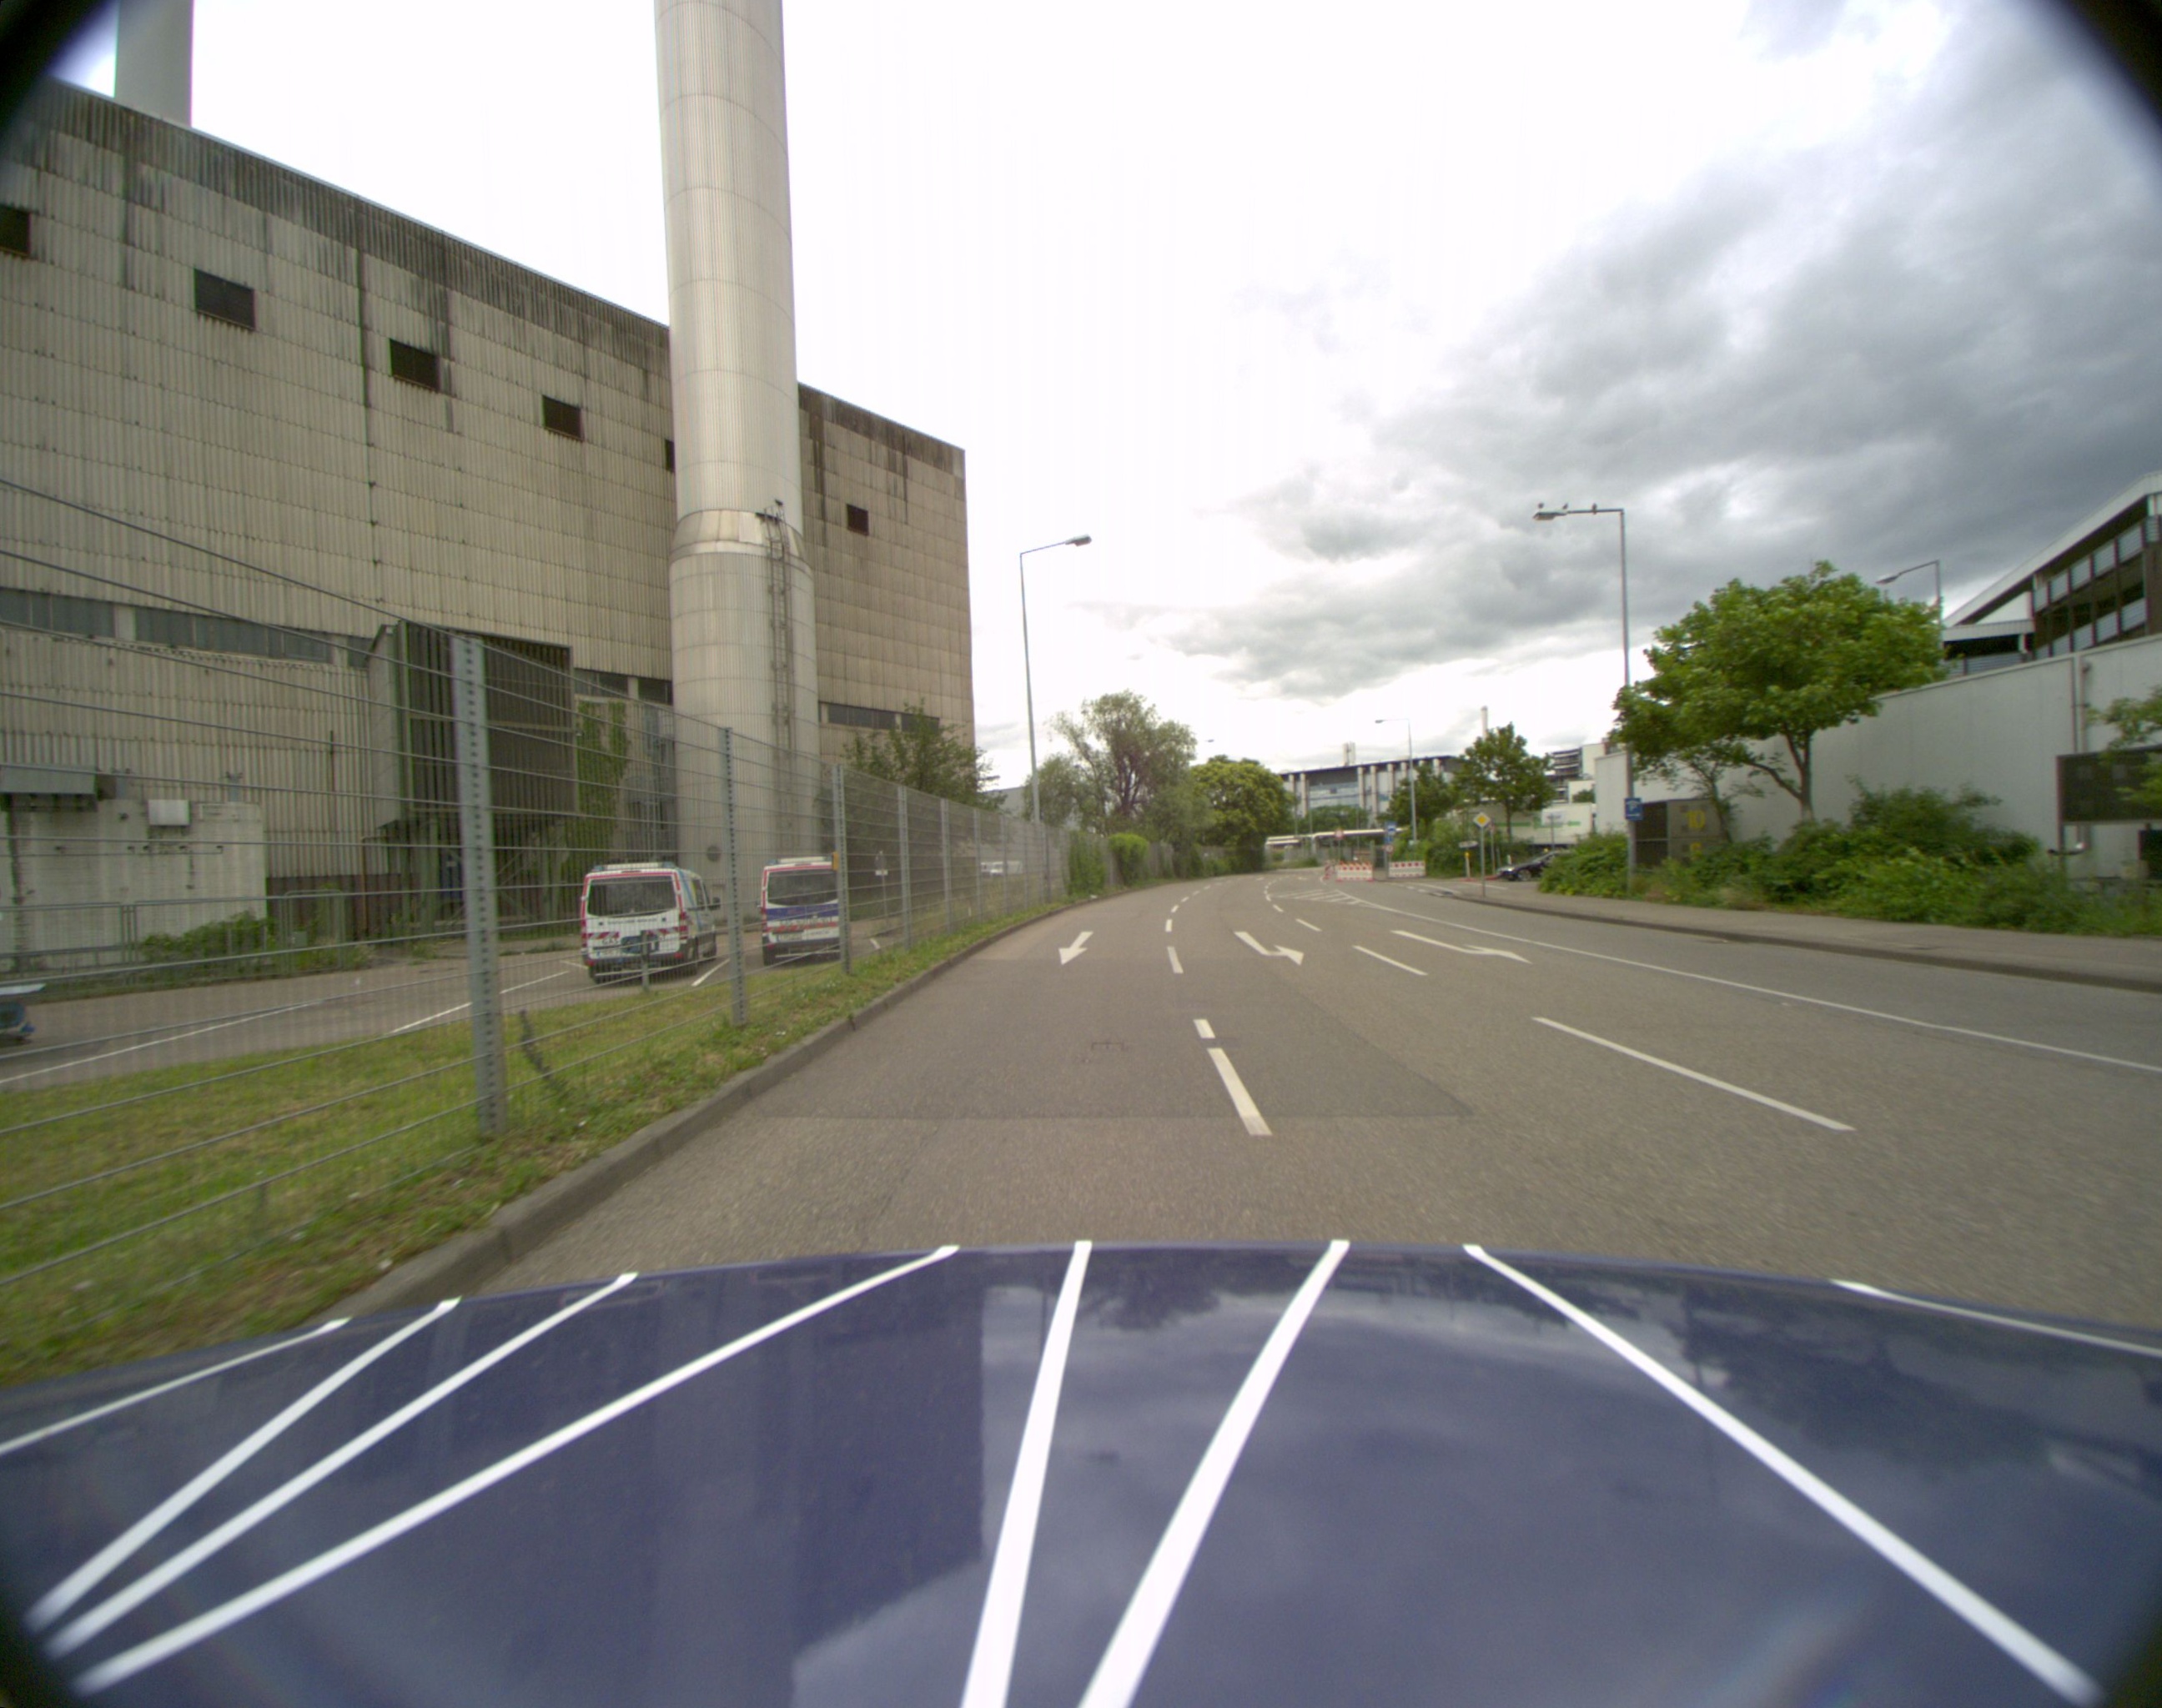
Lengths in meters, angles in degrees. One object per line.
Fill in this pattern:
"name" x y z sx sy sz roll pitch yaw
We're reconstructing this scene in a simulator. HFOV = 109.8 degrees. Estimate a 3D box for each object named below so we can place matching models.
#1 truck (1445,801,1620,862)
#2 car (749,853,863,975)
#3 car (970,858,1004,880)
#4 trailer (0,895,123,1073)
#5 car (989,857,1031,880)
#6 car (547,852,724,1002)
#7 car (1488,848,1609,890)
"truck" 29.005 -1.383 49.254 9.265 3.575 2.934 -2 0 10
"car" -6.924 1.437 19.178 2.241 2.531 5.185 -3 -2 -20
"car" -11.151 1.734 90.724 1.997 2.353 5.845 -3 -1 13
"trailer" -16.634 1.938 9.390 2.666 2.528 6.425 -3 -1 -17
"car" -8.205 1.642 88.835 1.995 2.353 5.849 -3 -1 26
"car" -9.897 1.541 17.453 2.430 2.745 5.448 -3 -2 -20
"car" 23.094 0.746 37.688 4.616 1.799 2.001 -3 0 9
